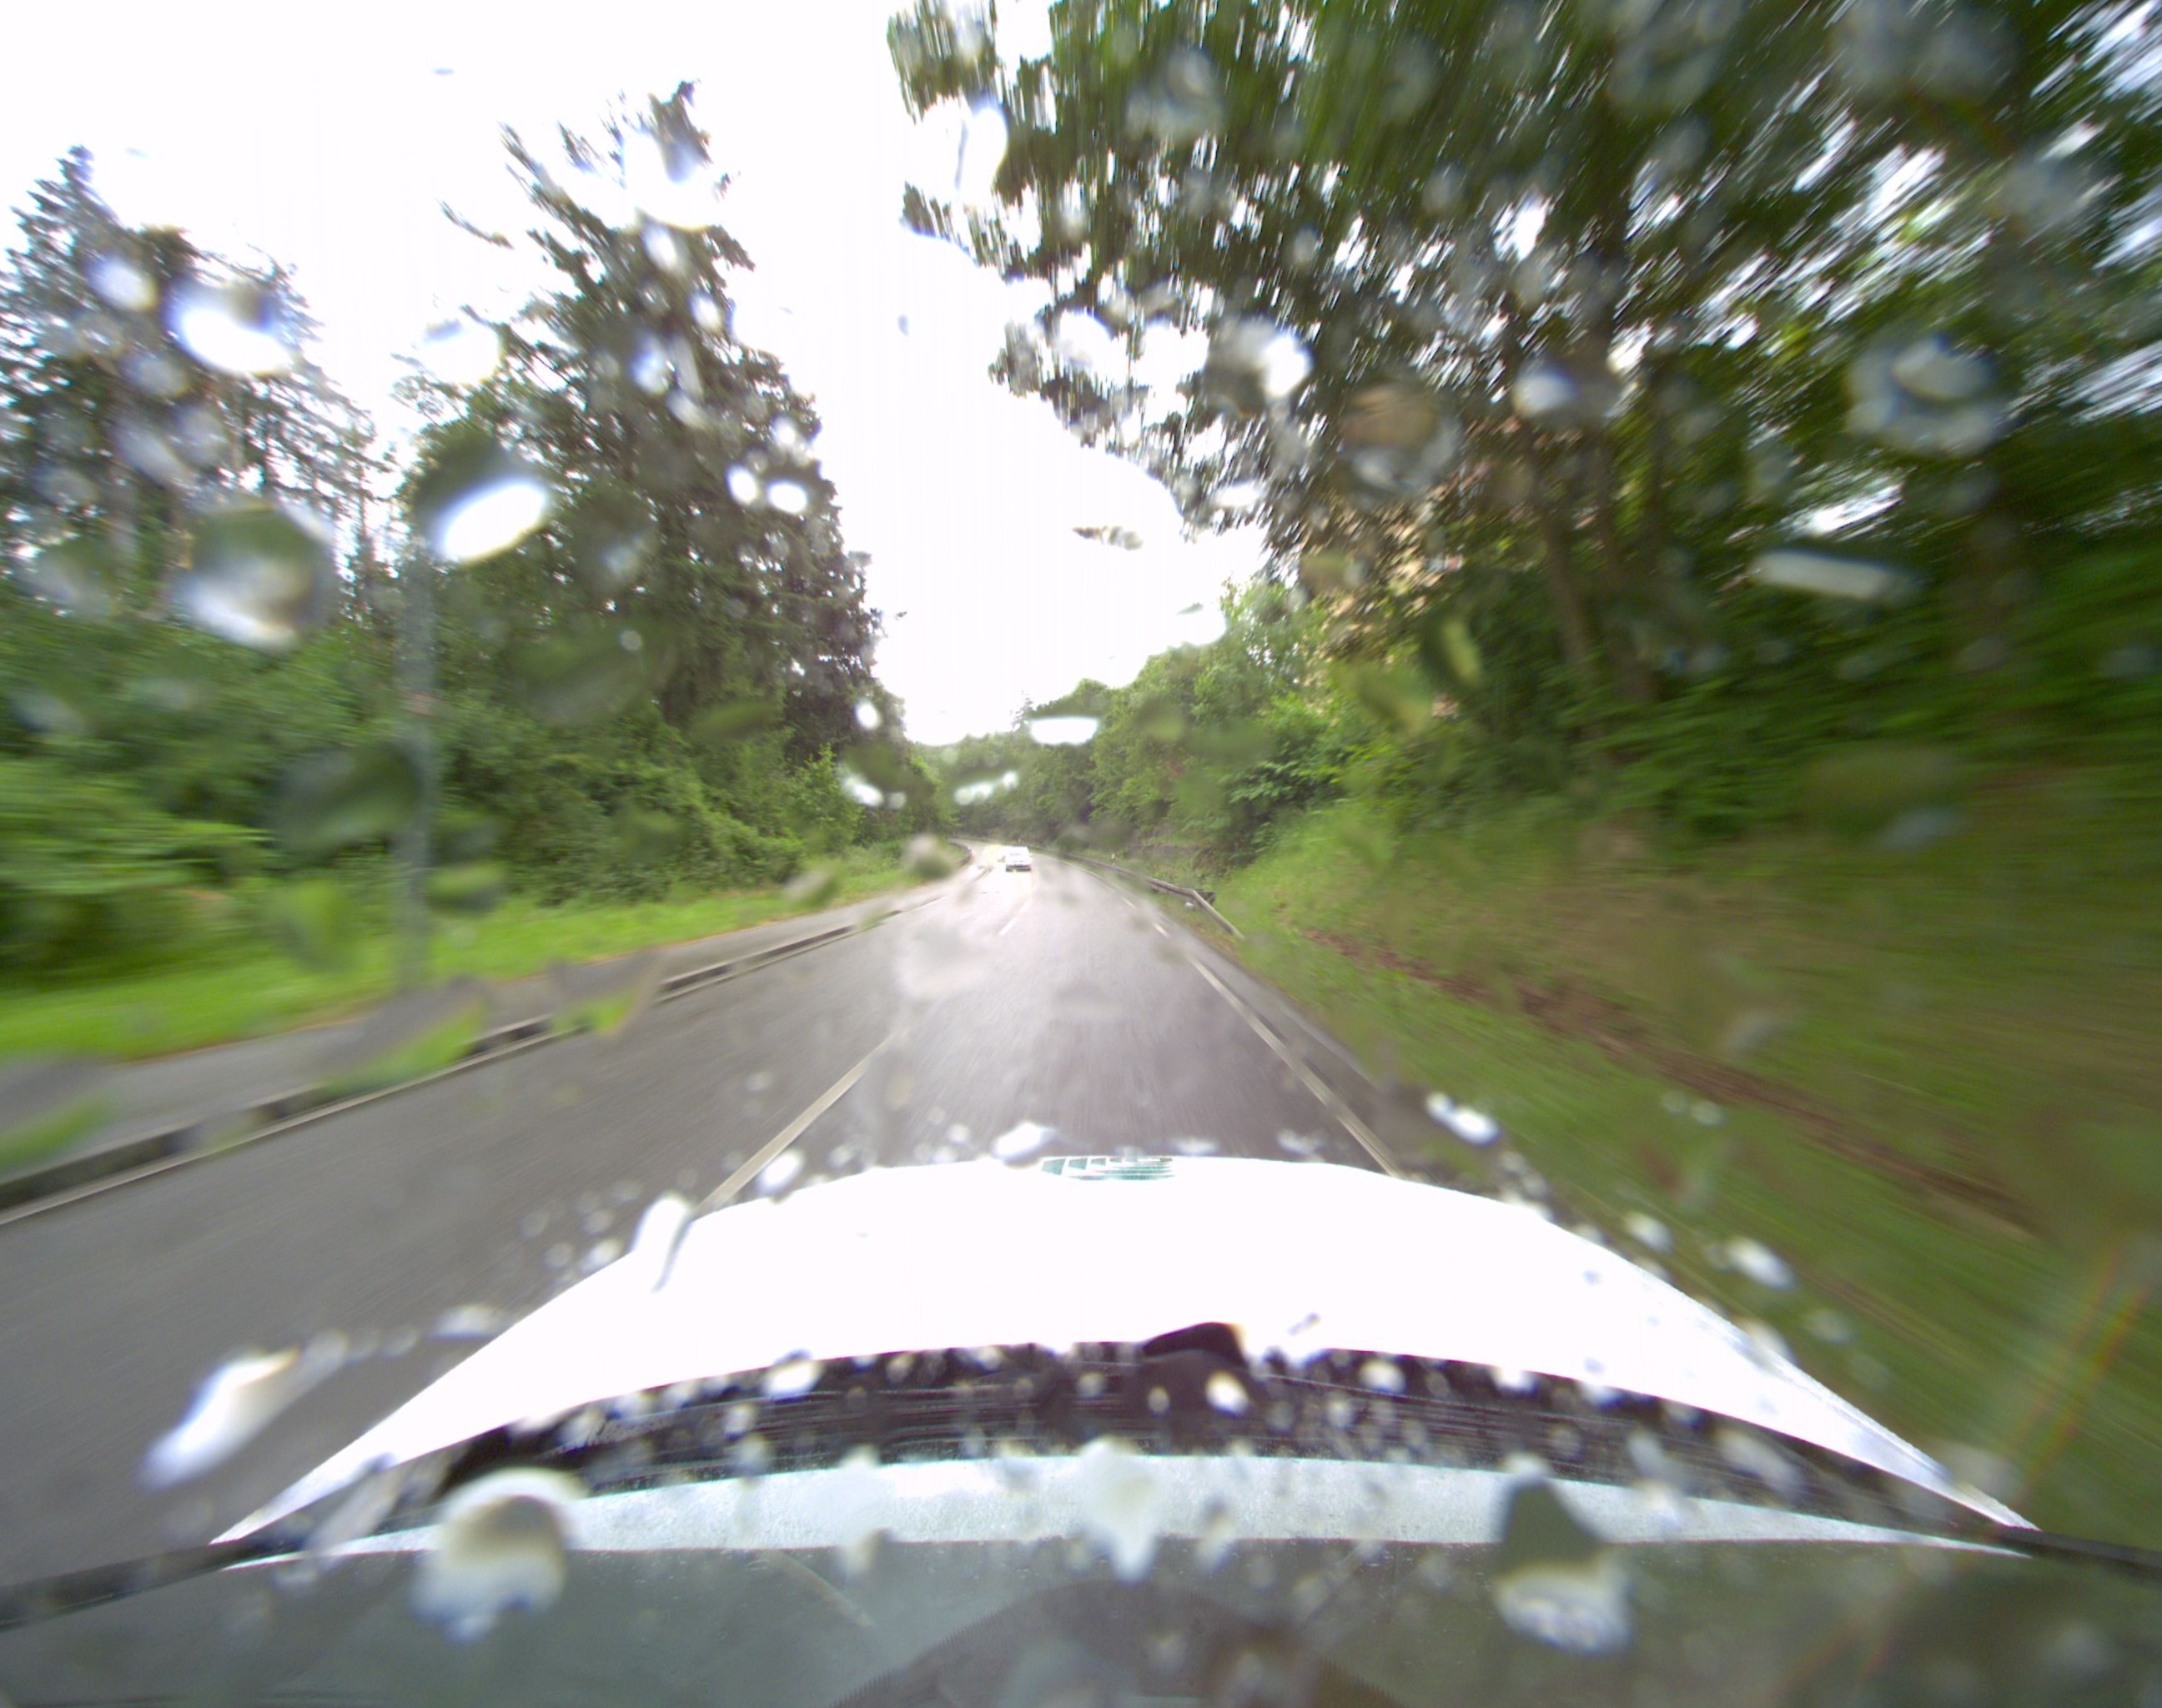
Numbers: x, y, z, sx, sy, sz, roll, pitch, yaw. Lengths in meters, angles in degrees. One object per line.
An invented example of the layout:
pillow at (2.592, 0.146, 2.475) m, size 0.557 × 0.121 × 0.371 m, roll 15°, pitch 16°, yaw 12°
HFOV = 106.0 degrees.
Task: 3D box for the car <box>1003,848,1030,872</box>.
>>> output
car at (-4.557, 0.407, 58.013) m, size 1.810 × 1.648 × 4.126 m, roll -1°, pitch 0°, yaw -3°

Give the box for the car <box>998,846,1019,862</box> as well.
car at (-6.967, -0.025, 78.159) m, size 1.813 × 1.434 × 3.989 m, roll -1°, pitch 0°, yaw -8°

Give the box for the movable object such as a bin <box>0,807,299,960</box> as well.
movable object such as a bin at (-14.950, 0.381, 9.669) m, size 1.828 × 1.907 × 7.957 m, roll -1°, pitch 0°, yaw 31°
